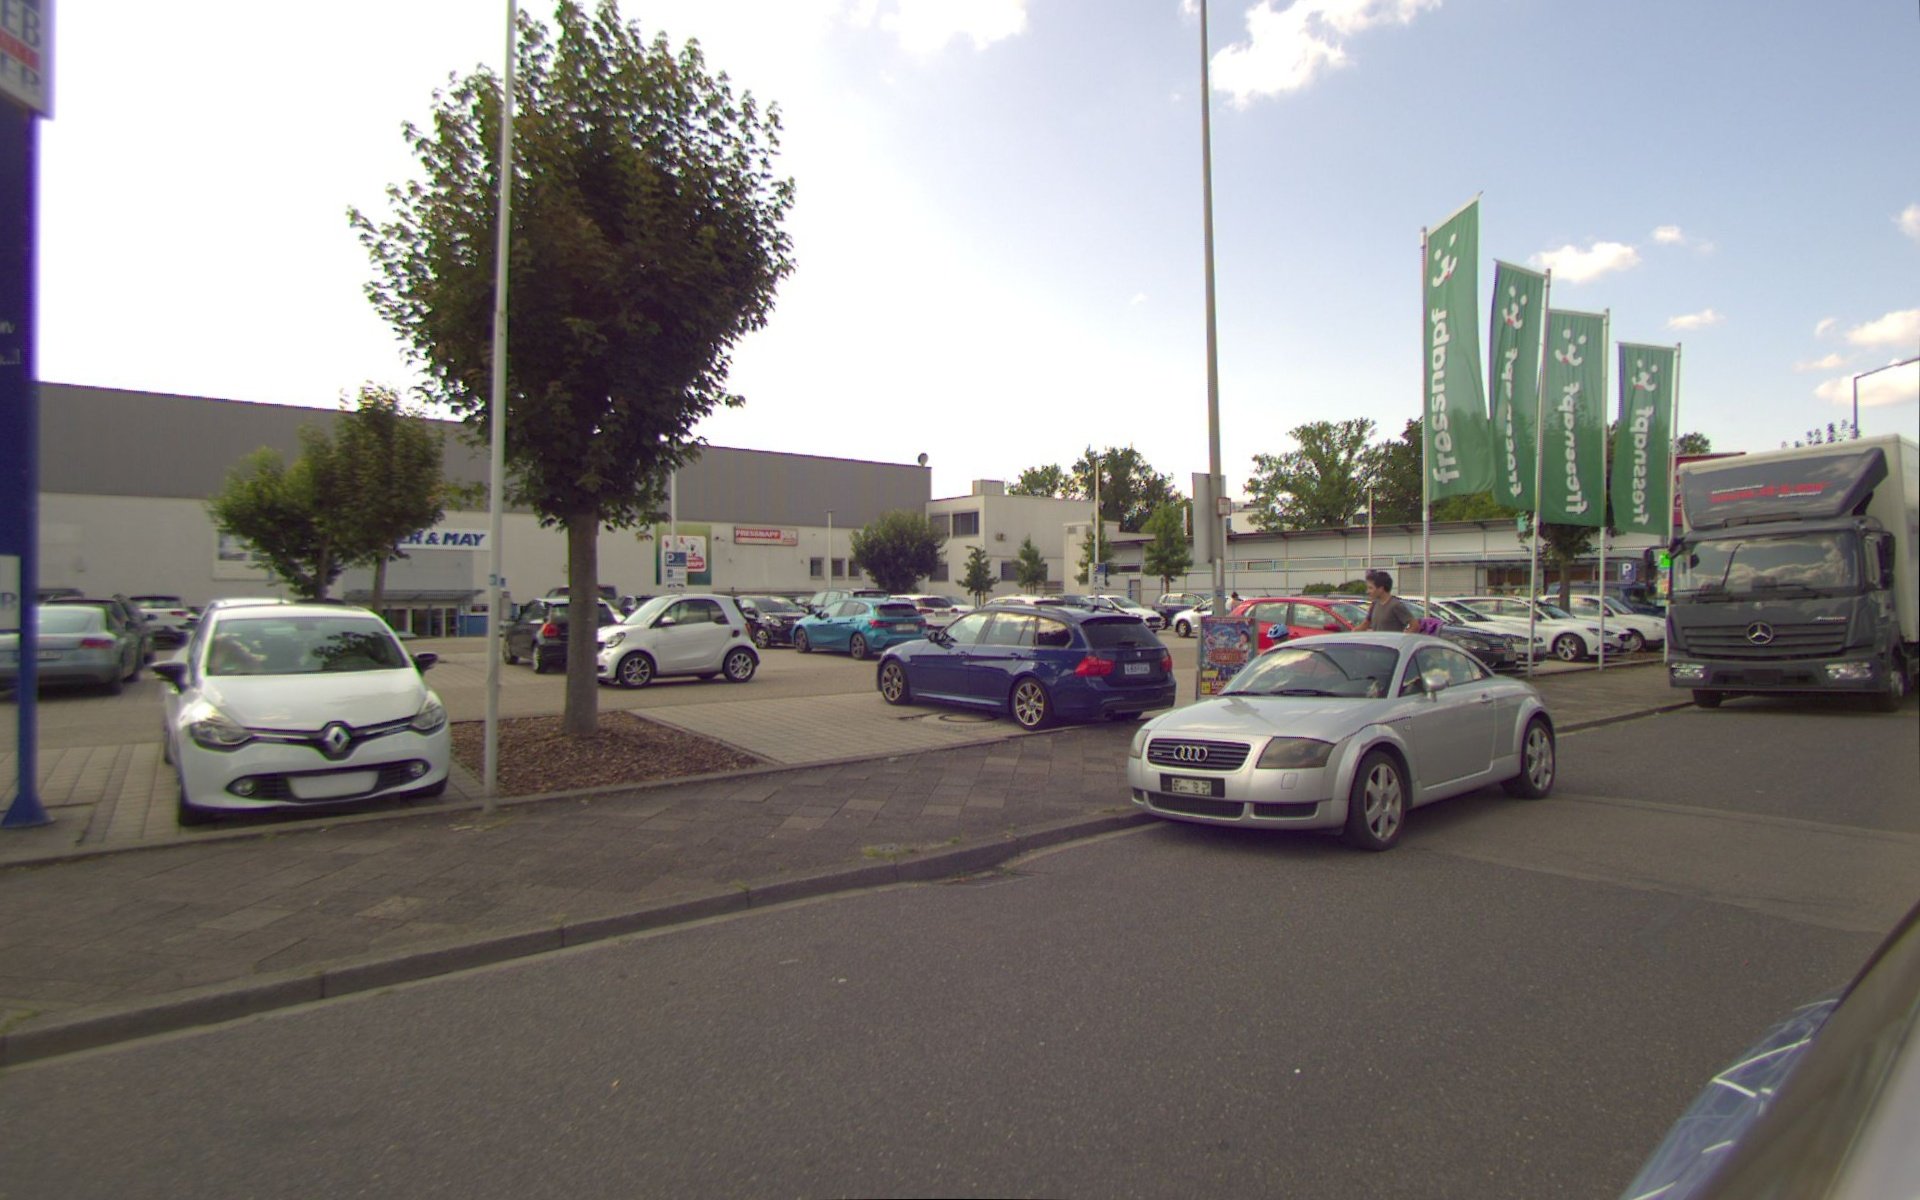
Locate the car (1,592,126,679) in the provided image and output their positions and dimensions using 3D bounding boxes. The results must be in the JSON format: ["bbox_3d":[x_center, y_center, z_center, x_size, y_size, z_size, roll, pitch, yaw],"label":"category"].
[{"bbox_3d":[-17.469,0.605,19.861,1.694,1.502,4.050,0,1,-40],"label":"car"}]

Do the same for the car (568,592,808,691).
[{"bbox_3d":[-4.688,0.648,17.687,3.687,1.539,1.722,0,-1,-40],"label":"car"}]

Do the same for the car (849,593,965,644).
[{"bbox_3d":[-1.750,0.536,32.306,1.694,1.502,3.943,0,1,-40],"label":"car"}]

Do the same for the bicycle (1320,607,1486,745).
[{"bbox_3d":[4.855,0.771,11.059,1.847,1.310,0.795,-1,4,-36],"label":"bicycle"}]

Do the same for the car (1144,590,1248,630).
[{"bbox_3d":[9.681,0.372,41.693,1.694,1.502,3.943,0,1,-40],"label":"car"}]

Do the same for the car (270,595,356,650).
[{"bbox_3d":[-19.934,0.640,31.112,1.725,1.502,4.058,0,1,-40],"label":"car"}]

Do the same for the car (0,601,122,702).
[{"bbox_3d":[-14.541,0.725,16.173,1.762,1.355,4.112,0,1,-40],"label":"car"}]

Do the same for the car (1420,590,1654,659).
[{"bbox_3d":[13.579,0.505,24.059,1.825,1.455,4.492,0,1,-38],"label":"car"}]

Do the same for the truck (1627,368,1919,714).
[{"bbox_3d":[13.650,-0.686,15.765,8.127,4.170,2.784,0,-3,-38],"label":"truck"}]

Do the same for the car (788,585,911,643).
[{"bbox_3d":[-3.364,0.350,30.202,1.709,1.597,4.066,0,1,-40],"label":"car"}]

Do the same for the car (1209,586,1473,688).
[{"bbox_3d":[6.425,0.534,17.358,1.719,1.541,3.889,0,1,-42],"label":"car"}]

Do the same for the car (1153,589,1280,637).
[{"bbox_3d":[8.610,0.401,34.225,1.694,1.502,3.943,0,1,-40],"label":"car"}]

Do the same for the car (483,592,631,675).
[{"bbox_3d":[-8.426,0.613,20.977,1.694,1.502,4.003,0,1,-40],"label":"car"}]

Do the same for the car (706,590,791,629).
[{"bbox_3d":[-8.678,0.351,41.314,1.694,1.502,4.039,0,1,-40],"label":"car"}]

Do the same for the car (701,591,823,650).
[{"bbox_3d":[-5.684,0.515,28.728,1.694,1.502,4.028,0,1,-40],"label":"car"}]

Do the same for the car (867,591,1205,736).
[{"bbox_3d":[0.780,0.642,12.804,1.813,1.462,4.317,0,1,-39],"label":"car"}]

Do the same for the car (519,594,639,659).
[{"bbox_3d":[-9.868,0.610,26.043,1.694,1.502,4.018,0,1,-40],"label":"car"}]

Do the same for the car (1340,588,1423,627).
[{"bbox_3d":[17.376,0.302,41.751,1.617,1.563,2.716,0,0,-39],"label":"car"}]

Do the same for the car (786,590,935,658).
[{"bbox_3d":[-2.512,0.526,24.851,1.710,1.502,3.990,0,1,-40],"label":"car"}]

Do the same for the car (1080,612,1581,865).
[{"bbox_3d":[2.896,0.839,7.556,3.912,1.358,1.664,0,-3,-38],"label":"car"}]

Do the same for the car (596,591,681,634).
[{"bbox_3d":[-12.109,0.429,37.948,1.694,1.502,3.930,0,1,-40],"label":"car"}]

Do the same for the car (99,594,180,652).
[{"bbox_3d":[-23.616,0.603,29.119,1.694,1.502,4.193,0,1,-40],"label":"car"}]

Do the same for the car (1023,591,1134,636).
[{"bbox_3d":[4.231,0.446,36.580,1.694,1.502,3.943,0,1,-40],"label":"car"}]

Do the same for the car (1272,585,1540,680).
[{"bbox_3d":[8.242,0.517,18.993,1.719,1.562,4.291,0,1,-42],"label":"car"}]

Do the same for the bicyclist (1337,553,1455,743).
[{"bbox_3d":[4.697,0.474,10.916,0.813,1.933,0.797,-1,3,-35],"label":"bicyclist"}]

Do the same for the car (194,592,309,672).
[{"bbox_3d":[-15.300,0.604,21.770,1.694,1.502,4.126,0,1,-40],"label":"car"}]

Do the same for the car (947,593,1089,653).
[{"bbox_3d":[1.531,0.567,27.991,1.694,1.502,3.943,0,1,-40],"label":"car"}]

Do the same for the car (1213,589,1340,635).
[{"bbox_3d":[10.908,0.369,35.067,1.694,1.502,3.943,0,1,-40],"label":"car"}]

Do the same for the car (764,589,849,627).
[{"bbox_3d":[-6.520,0.307,42.692,1.694,1.502,4.031,0,1,-40],"label":"car"}]

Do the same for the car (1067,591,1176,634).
[{"bbox_3d":[6.018,0.437,38.076,1.694,1.502,3.943,0,1,-40],"label":"car"}]

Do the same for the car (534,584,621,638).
[{"bbox_3d":[-13.731,0.336,36.237,1.694,1.823,4.073,0,1,-40],"label":"car"}]

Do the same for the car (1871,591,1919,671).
[{"bbox_3d":[19.838,0.578,20.461,3.561,1.531,1.547,0,-3,-40],"label":"car"}]

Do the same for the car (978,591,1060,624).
[{"bbox_3d":[2.803,0.318,48.782,1.694,1.502,4.040,0,1,-40],"label":"car"}]

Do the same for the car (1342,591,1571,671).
[{"bbox_3d":[10.087,0.558,20.764,1.719,1.450,3.889,0,1,-42],"label":"car"}]

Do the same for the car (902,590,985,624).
[{"bbox_3d":[-0.808,0.290,47.107,1.694,1.502,4.139,0,1,-40],"label":"car"}]

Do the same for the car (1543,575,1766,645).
[{"bbox_3d":[19.598,0.215,28.757,1.868,1.810,4.906,0,1,-38],"label":"car"}]

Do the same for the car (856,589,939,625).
[{"bbox_3d":[-2.856,0.269,45.718,1.694,1.502,4.022,0,1,-40],"label":"car"}]

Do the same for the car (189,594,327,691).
[{"bbox_3d":[-12.718,0.669,18.235,1.694,1.502,4.067,0,1,-40],"label":"car"}]

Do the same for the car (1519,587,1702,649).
[{"bbox_3d":[17.418,0.428,27.244,1.623,1.518,3.823,0,1,-36],"label":"car"}]

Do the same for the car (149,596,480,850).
[{"bbox_3d":[-5.396,0.738,8.221,1.765,1.428,3.960,0,2,-40],"label":"car"}]
